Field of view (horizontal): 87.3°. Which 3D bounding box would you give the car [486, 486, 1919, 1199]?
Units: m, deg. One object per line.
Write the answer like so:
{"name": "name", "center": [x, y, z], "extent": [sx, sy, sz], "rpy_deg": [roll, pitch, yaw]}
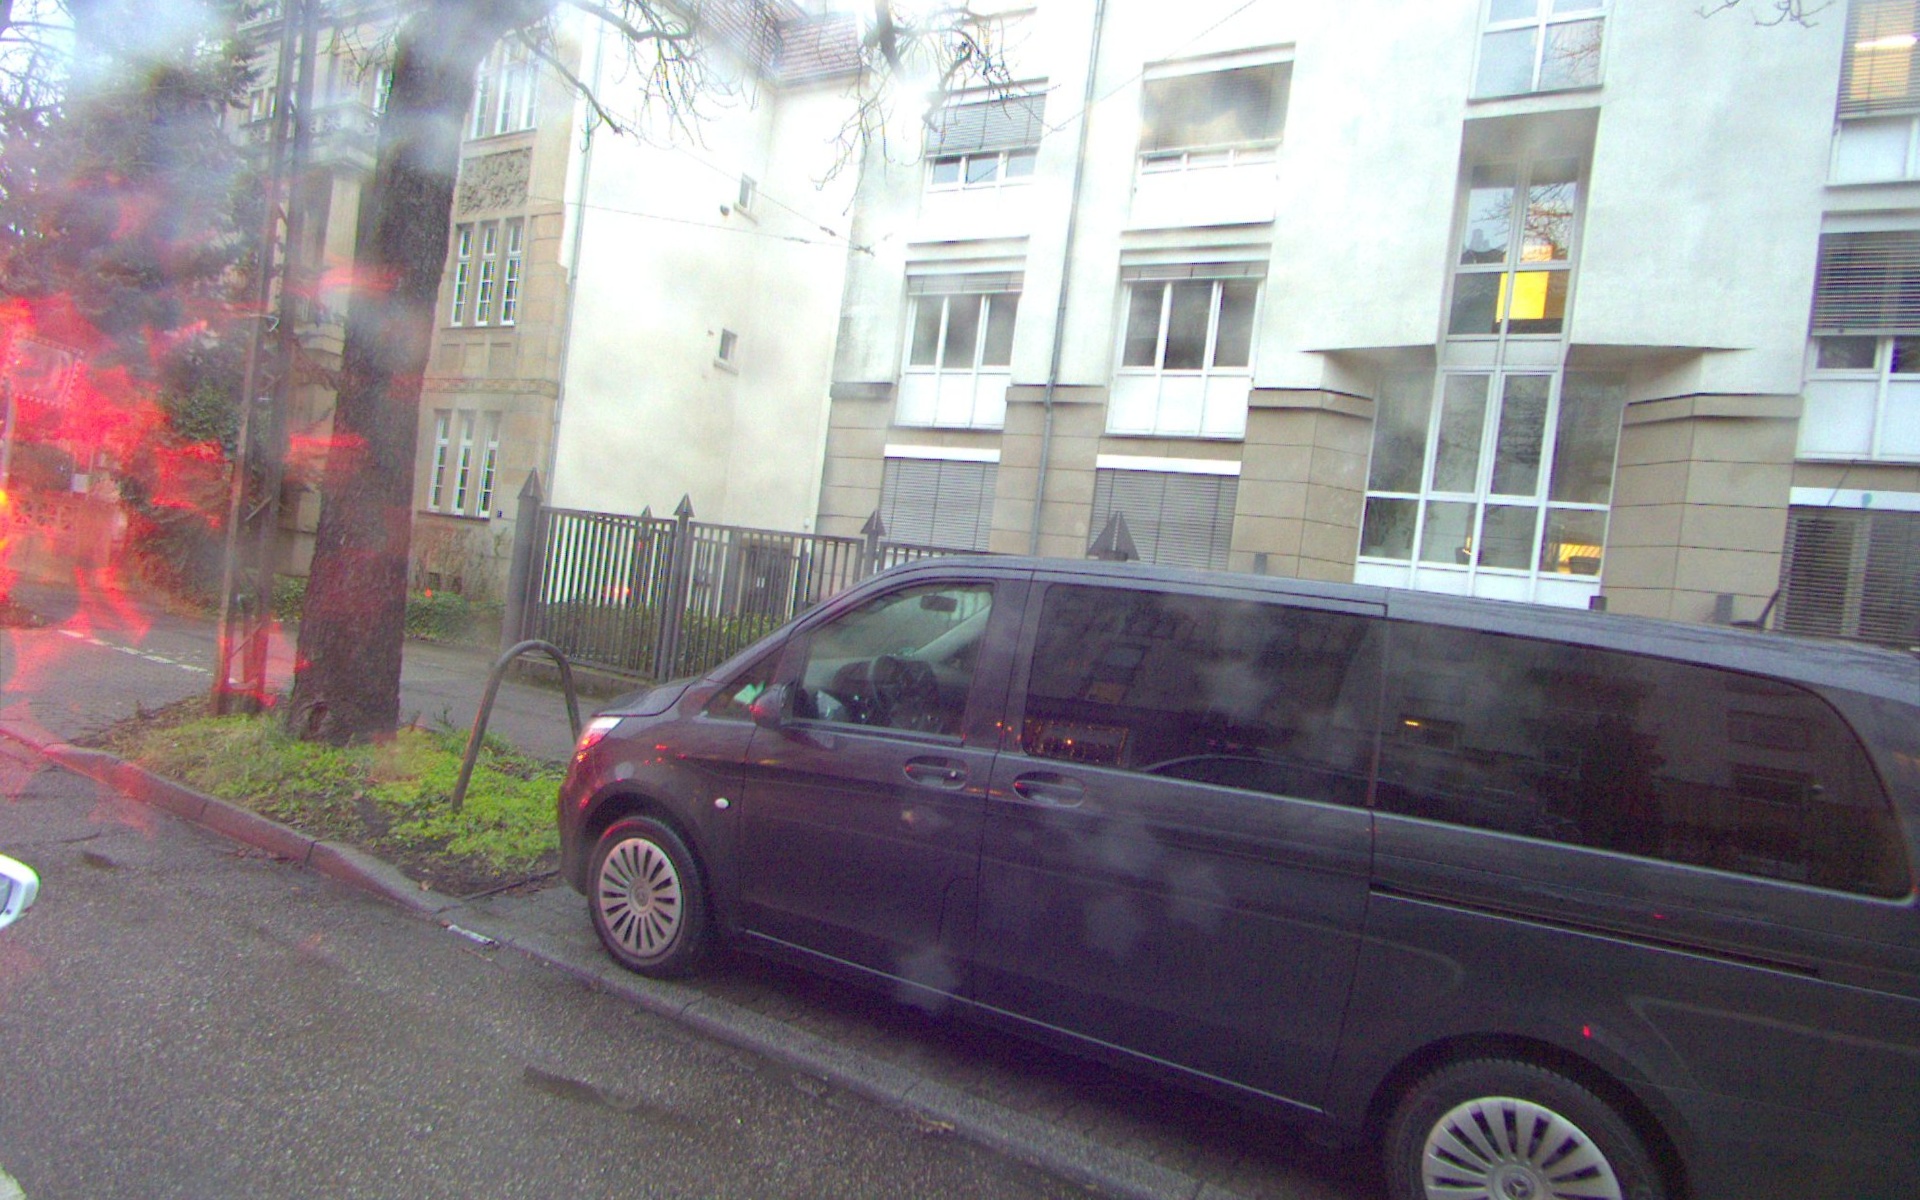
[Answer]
{"name": "car", "center": [0.678, 0.793, 4.061], "extent": [4.877, 1.899, 2.035], "rpy_deg": [7, 0, 28]}
